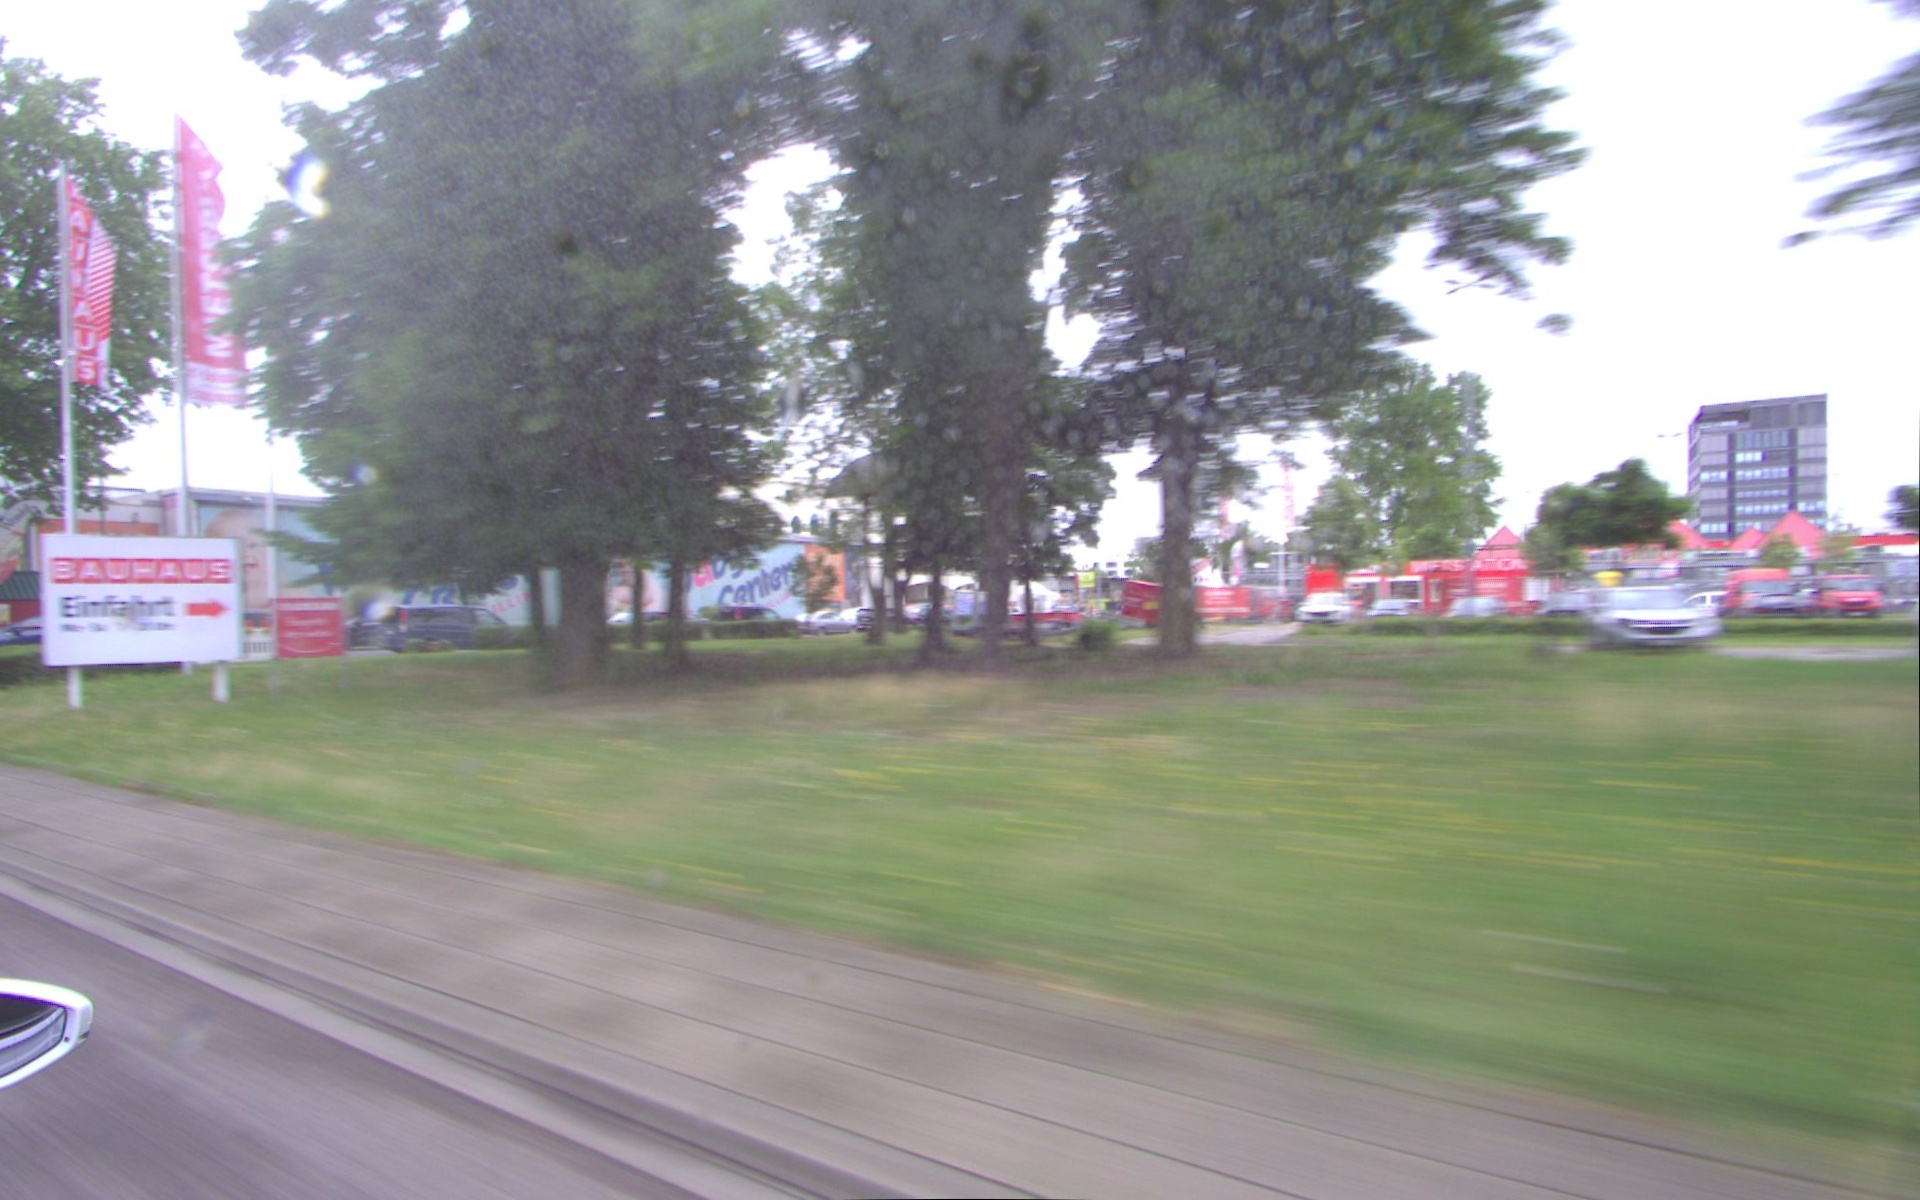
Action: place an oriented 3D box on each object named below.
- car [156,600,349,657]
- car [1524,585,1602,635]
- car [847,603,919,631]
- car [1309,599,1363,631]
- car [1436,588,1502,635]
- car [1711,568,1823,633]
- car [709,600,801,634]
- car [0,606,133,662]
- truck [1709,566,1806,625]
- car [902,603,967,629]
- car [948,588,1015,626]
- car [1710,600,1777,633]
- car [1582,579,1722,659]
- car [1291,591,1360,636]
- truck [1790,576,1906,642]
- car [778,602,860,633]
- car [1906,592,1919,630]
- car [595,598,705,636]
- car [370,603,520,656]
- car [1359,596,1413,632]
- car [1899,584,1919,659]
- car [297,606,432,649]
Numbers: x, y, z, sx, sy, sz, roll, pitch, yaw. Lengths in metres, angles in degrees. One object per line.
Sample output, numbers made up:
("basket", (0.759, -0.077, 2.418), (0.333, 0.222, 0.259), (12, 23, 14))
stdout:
("car", (-22.091, 0.833, 31.450), (1.964, 1.593, 4.543), (-1, 0, 32))
("car", (22.090, 0.340, 36.836), (2.122, 1.699, 4.549), (-1, 0, 27))
("car", (-4.592, 1.010, 60.297), (2.044, 1.593, 4.543), (-1, 0, 32))
("car", (19.729, 0.750, 52.435), (2.122, 1.577, 4.548), (-1, 0, 28))
("car", (19.509, 0.406, 38.424), (2.122, 1.699, 4.549), (-1, 0, 27))
("car", (27.624, 0.022, 34.450), (2.122, 2.078, 4.549), (-1, 0, 27))
("car", (-10.393, 0.823, 51.069), (2.044, 1.593, 4.543), (-1, 0, 32))
("car", (-30.227, 1.109, 33.085), (1.969, 1.699, 4.193), (-1, 0, 40))
("truck", (38.952, -0.216, 49.143), (2.447, 2.670, 7.848), (-1, 0, 29))
("car", (-1.634, 1.047, 65.439), (2.044, 1.593, 4.543), (-1, 0, 32))
("car", (1.568, 0.488, 70.712), (2.044, 2.571, 5.730), (-1, 0, 32))
("car", (44.114, 0.900, 56.492), (2.122, 1.699, 4.549), (-1, 0, 27))
("car", (14.689, 0.445, 21.505), (1.929, 1.516, 4.529), (-1, -2, 28))
("car", (15.044, 0.515, 41.094), (2.122, 1.699, 4.549), (-1, 0, 27))
("truck", (41.376, 0.360, 46.920), (2.447, 2.853, 7.848), (-1, 0, 29))
("car", (-7.717, 0.945, 55.375), (2.044, 1.593, 4.543), (-1, 0, 32))
("car", (43.119, 0.475, 43.229), (2.122, 1.699, 4.549), (-1, 0, 27))
("car", (-14.055, 0.736, 45.614), (2.044, 1.593, 4.543), (-1, 0, 32))
("car", (-18.965, 1.030, 37.075), (2.043, 1.814, 4.543), (0, 0, 32))
("car", (21.434, 0.692, 50.317), (2.122, 1.699, 4.548), (-1, 0, 28))
("car", (19.663, 0.383, 18.671), (2.139, 1.516, 4.669), (-1, -2, 31))
("car", (-25.457, 1.151, 42.950), (2.054, 1.699, 4.538), (-1, 0, 35))
